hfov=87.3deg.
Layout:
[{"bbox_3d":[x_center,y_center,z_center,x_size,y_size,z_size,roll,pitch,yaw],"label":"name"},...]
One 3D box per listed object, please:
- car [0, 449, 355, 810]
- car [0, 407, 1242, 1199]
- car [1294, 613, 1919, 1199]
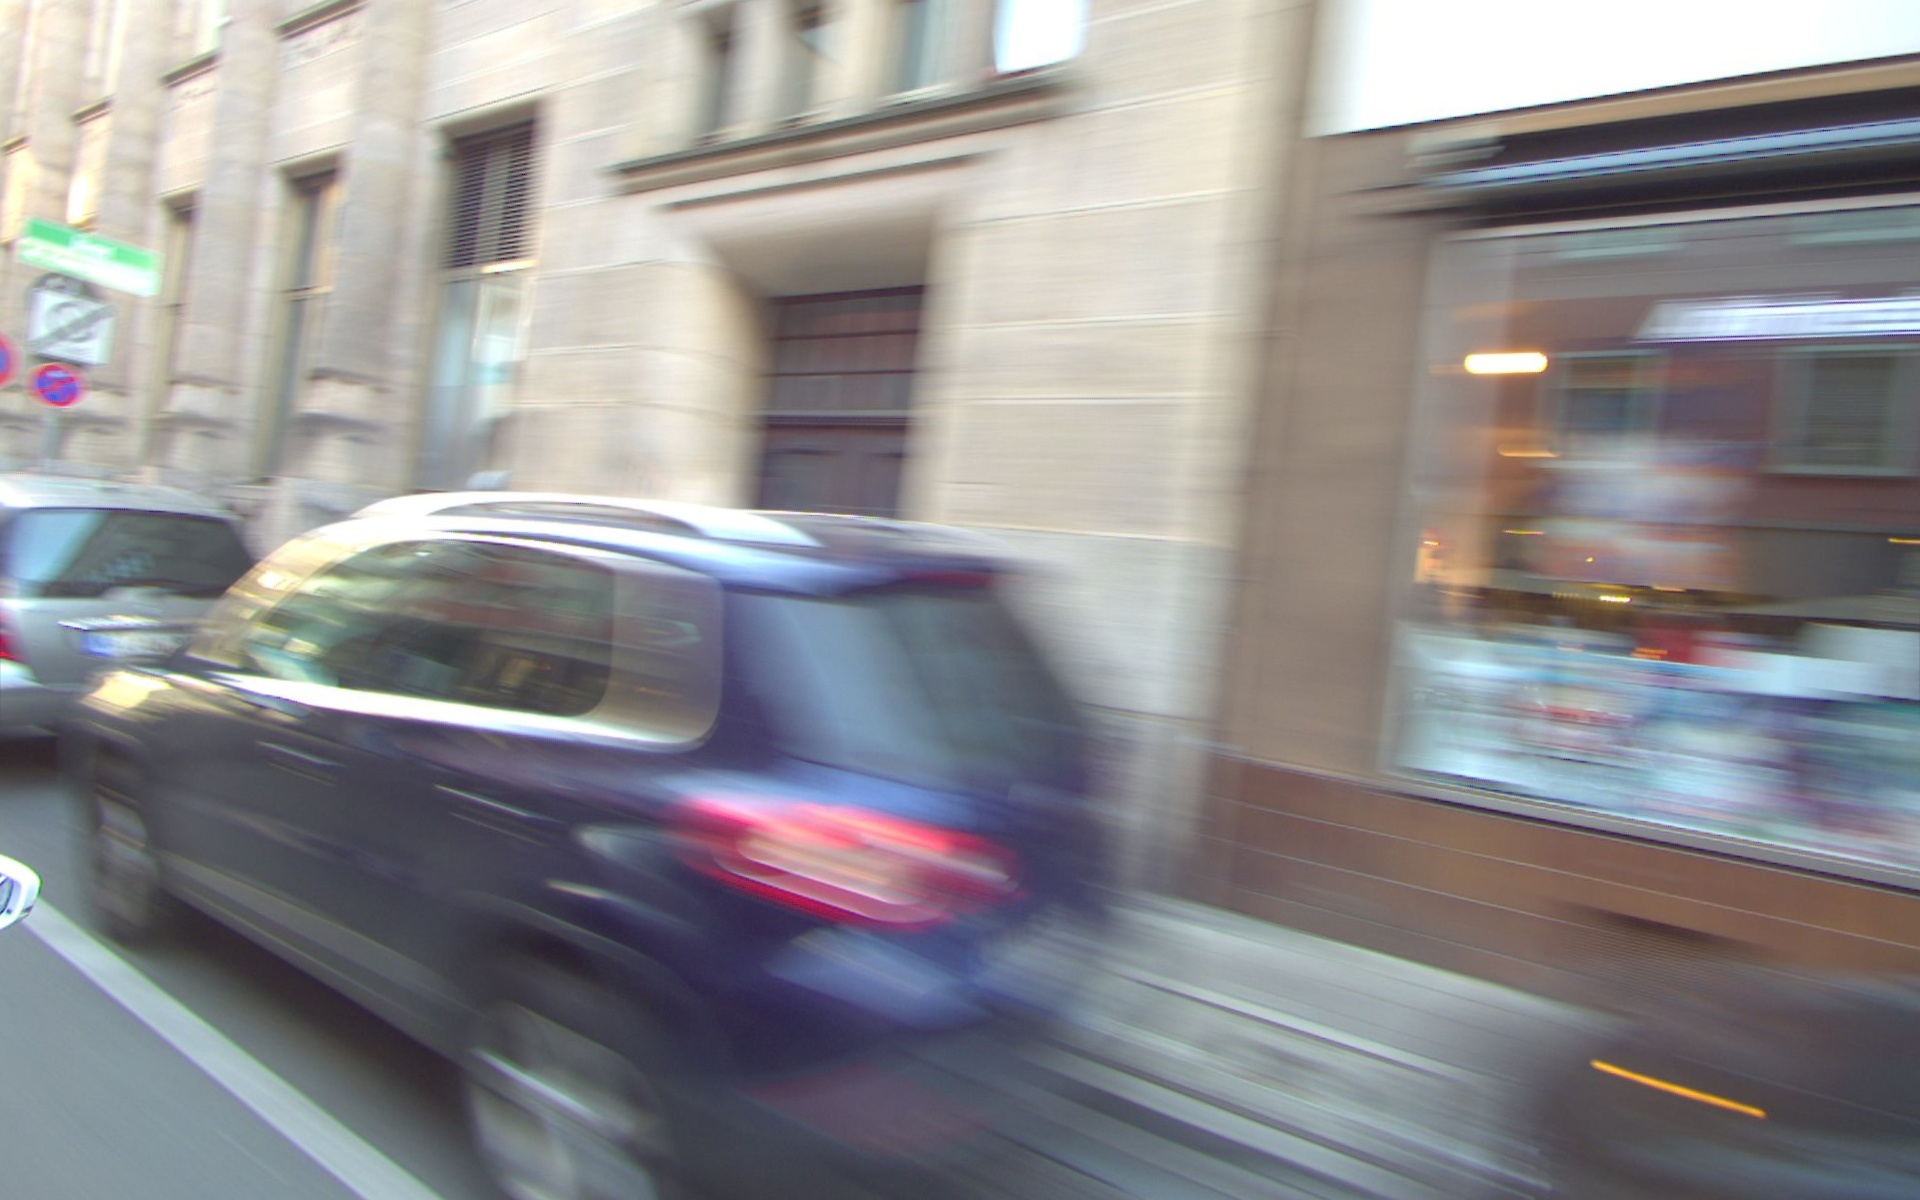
[{"bbox_3d":[-5.871,0.013,6.248,3.932,1.686,1.777,7,-1,29],"label":"car"},{"bbox_3d":[-1.440,0.490,3.464,4.170,1.827,1.673,7,-2,33],"label":"car"},{"bbox_3d":[2.862,1.101,0.554,4.908,1.534,1.693,7,-2,32],"label":"car"}]
